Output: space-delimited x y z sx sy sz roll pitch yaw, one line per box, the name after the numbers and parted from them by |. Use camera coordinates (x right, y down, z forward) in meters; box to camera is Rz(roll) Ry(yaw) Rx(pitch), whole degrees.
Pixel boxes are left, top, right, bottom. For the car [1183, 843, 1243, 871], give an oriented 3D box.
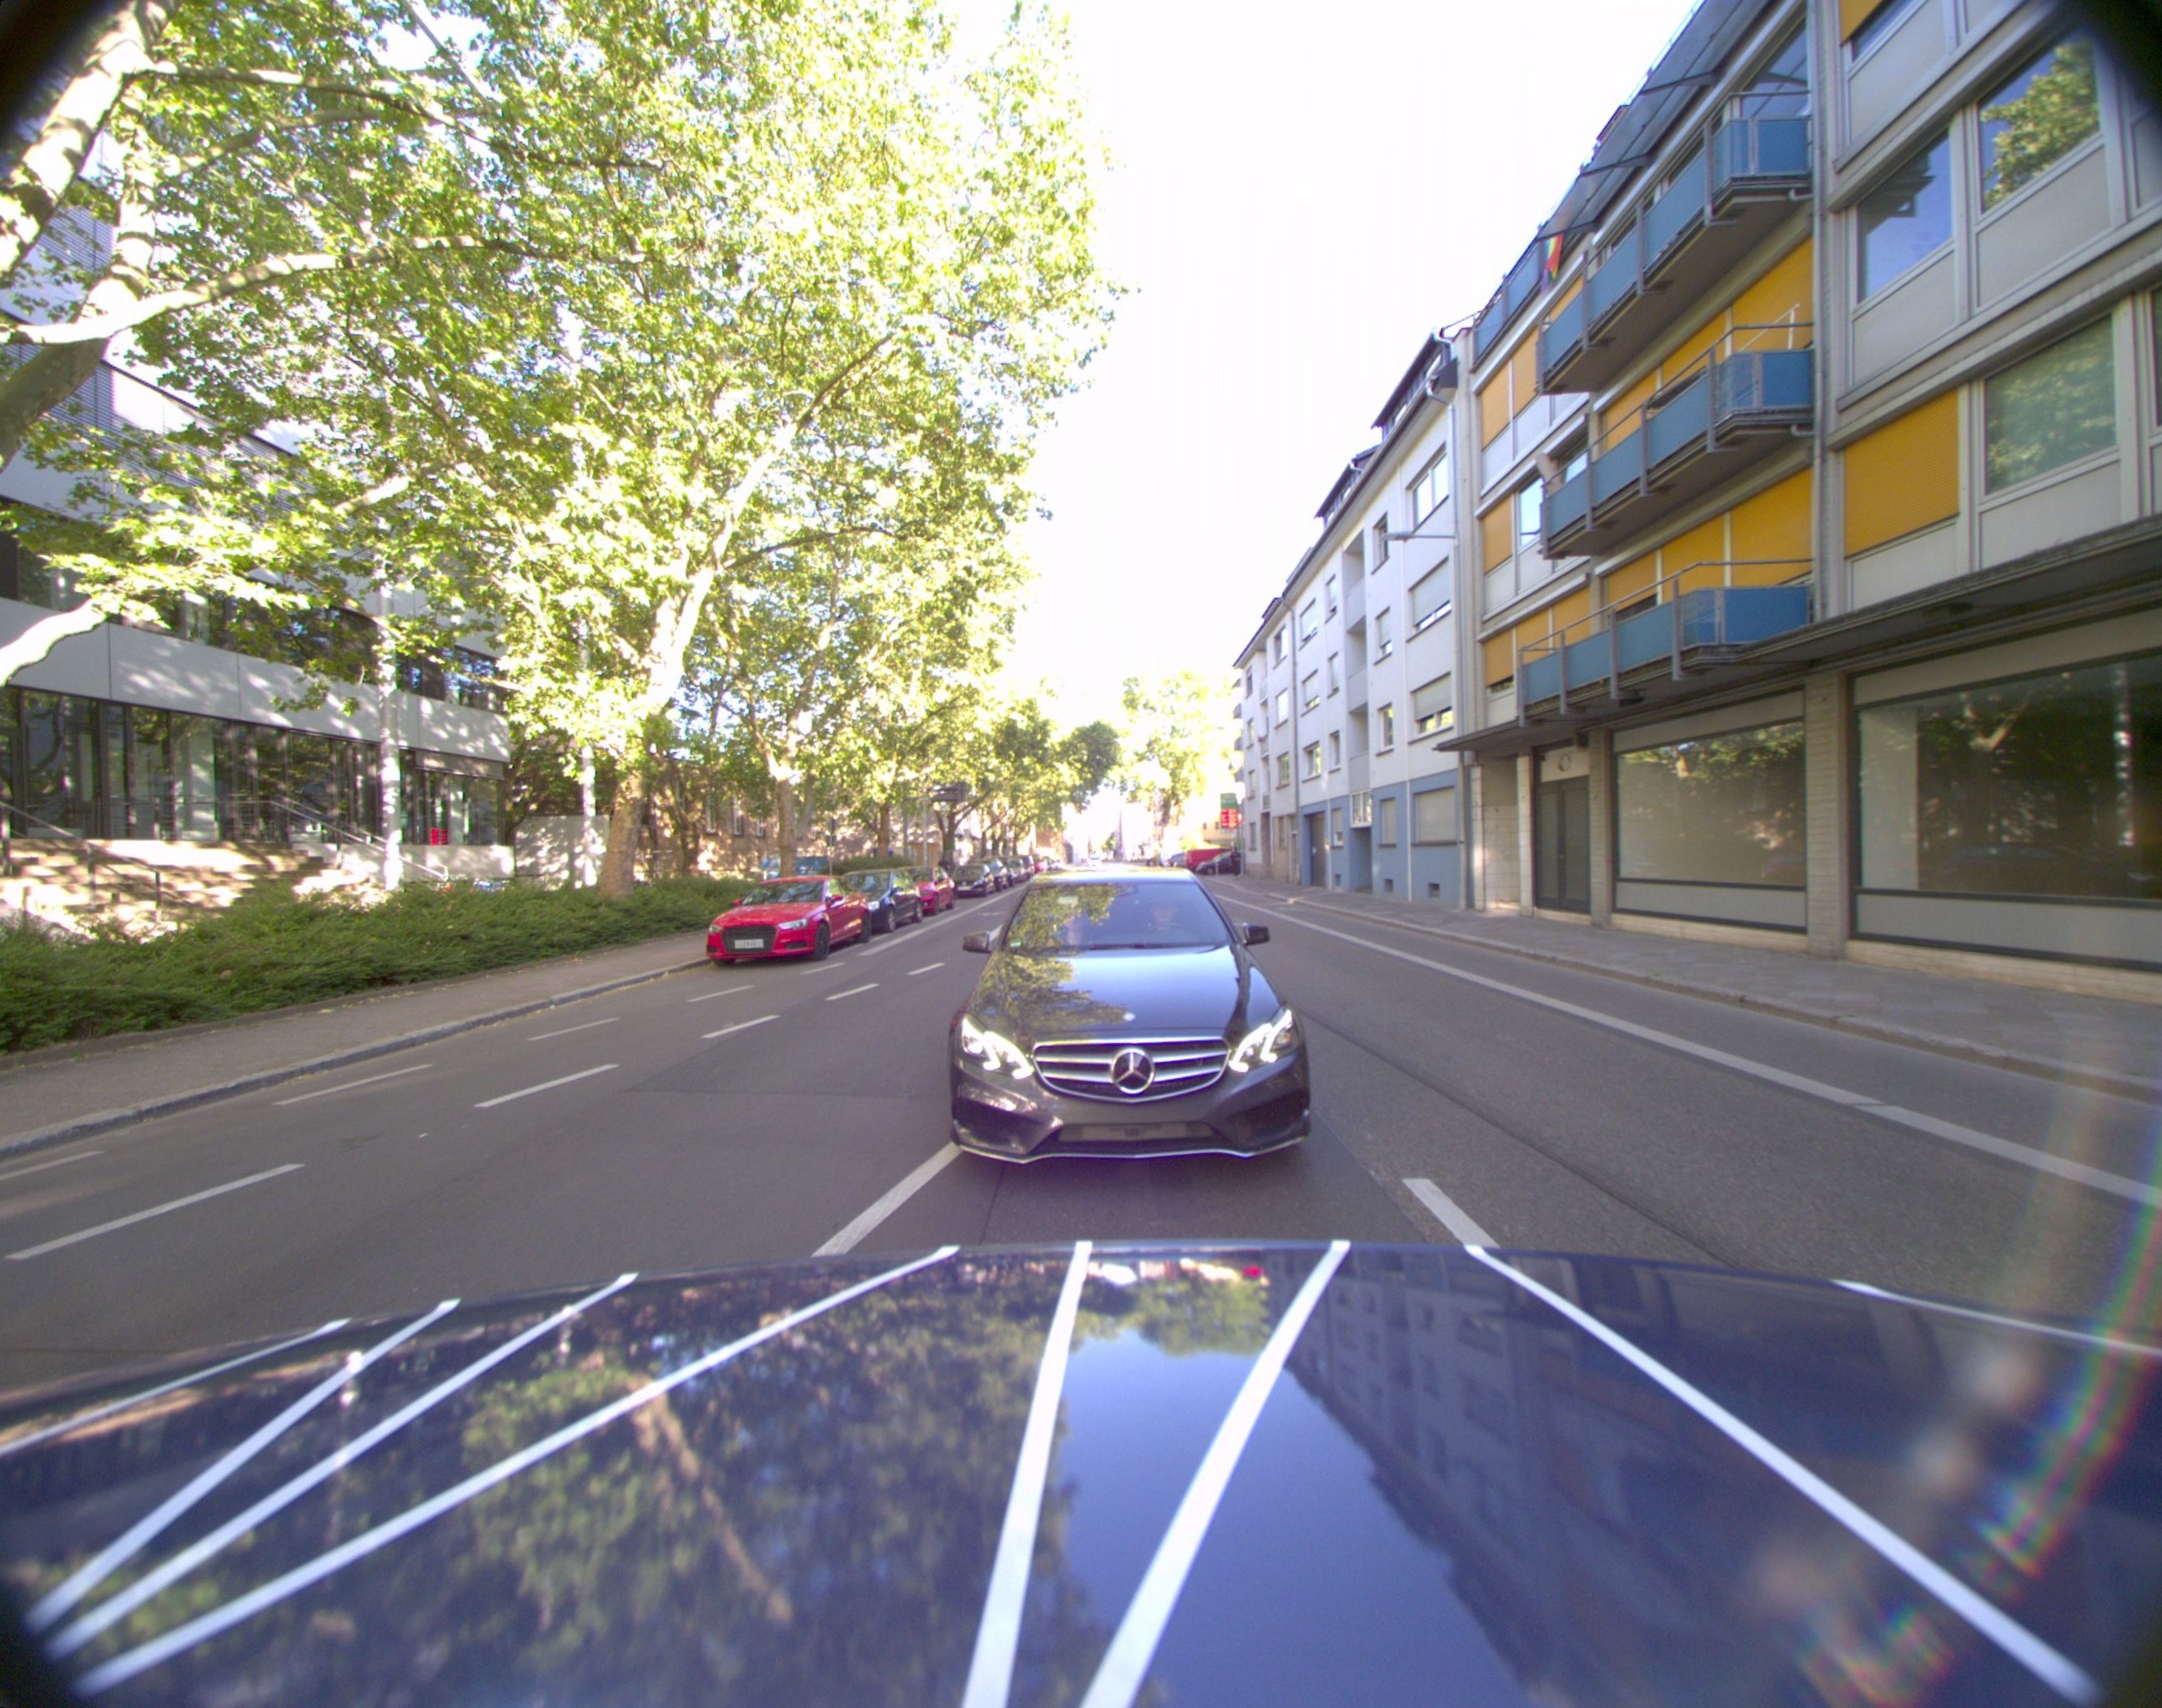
10.414 0.221 60.132 4.255 1.907 1.818 -4 0 0 | car

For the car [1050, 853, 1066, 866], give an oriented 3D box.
-3.050 0.689 102.950 1.835 1.667 4.259 -2 0 1 | car

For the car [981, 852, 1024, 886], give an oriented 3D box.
-4.510 0.825 44.116 1.835 1.787 4.463 -2 0 1 | car

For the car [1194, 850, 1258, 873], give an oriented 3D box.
10.399 0.517 54.750 4.255 1.392 1.653 -4 0 1 | car

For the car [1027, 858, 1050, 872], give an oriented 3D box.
-3.992 1.029 71.789 1.835 1.220 4.259 -2 0 1 | car

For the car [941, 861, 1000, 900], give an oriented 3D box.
-4.744 1.106 33.178 1.835 1.459 4.168 -2 0 1 | car

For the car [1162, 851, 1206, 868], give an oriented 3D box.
10.601 0.539 78.653 4.255 1.461 1.653 -4 0 1 | car

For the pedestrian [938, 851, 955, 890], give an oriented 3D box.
-6.500 0.807 36.742 0.660 1.849 0.641 -2 1 1 | pedestrian

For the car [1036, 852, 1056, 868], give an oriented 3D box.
-3.941 0.671 86.228 1.835 1.667 4.259 -2 0 1 | car

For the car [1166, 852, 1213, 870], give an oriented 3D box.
10.431 0.672 73.194 4.255 1.461 1.653 -4 0 1 | car

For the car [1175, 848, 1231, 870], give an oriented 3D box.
10.051 0.407 62.714 4.255 1.461 1.653 -4 0 1 | car

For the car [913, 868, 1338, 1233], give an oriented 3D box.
0.227 0.918 5.523 1.849 1.490 4.302 -1 0 1 | car

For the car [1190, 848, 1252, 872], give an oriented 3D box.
10.483 0.453 57.052 4.255 1.461 1.653 -4 0 1 | car

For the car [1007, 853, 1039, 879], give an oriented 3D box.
-4.180 0.815 55.641 1.835 1.750 4.259 -2 0 1 | car

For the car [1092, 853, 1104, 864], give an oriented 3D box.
2.595 0.714 117.178 1.726 1.530 4.000 -1 0 1 | car

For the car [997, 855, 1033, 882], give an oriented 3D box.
-4.338 0.949 50.609 1.835 1.604 4.259 -2 0 1 | car

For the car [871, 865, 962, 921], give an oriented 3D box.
-5.041 1.137 23.842 1.835 1.459 4.168 -2 0 1 | car

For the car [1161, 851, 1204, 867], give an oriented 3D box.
10.772 0.513 80.617 4.255 1.461 1.653 -4 0 1 | car

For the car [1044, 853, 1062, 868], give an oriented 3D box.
-3.414 0.790 92.844 1.835 1.667 4.259 -2 0 1 | car

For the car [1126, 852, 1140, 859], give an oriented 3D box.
12.662 0.370 184.361 1.995 1.729 4.007 -1 0 28 | car

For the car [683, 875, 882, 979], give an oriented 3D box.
-5.127 1.179 13.771 1.835 1.396 4.247 -2 0 1 | car

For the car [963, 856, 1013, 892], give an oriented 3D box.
-4.596 0.967 38.076 1.835 1.596 4.161 -2 0 1 | car

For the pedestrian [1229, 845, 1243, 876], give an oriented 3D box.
8.673 0.356 42.591 0.612 1.685 0.655 -2 1 1 | pedestrian

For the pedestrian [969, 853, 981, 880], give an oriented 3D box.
-6.966 0.813 49.926 0.601 1.785 0.593 -2 1 0 | pedestrian

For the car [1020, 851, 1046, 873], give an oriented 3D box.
-4.147 0.685 66.348 1.835 1.839 4.259 -2 0 1 | car

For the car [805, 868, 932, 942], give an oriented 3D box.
-5.038 1.152 18.632 1.835 1.438 4.168 -2 0 1 | car
